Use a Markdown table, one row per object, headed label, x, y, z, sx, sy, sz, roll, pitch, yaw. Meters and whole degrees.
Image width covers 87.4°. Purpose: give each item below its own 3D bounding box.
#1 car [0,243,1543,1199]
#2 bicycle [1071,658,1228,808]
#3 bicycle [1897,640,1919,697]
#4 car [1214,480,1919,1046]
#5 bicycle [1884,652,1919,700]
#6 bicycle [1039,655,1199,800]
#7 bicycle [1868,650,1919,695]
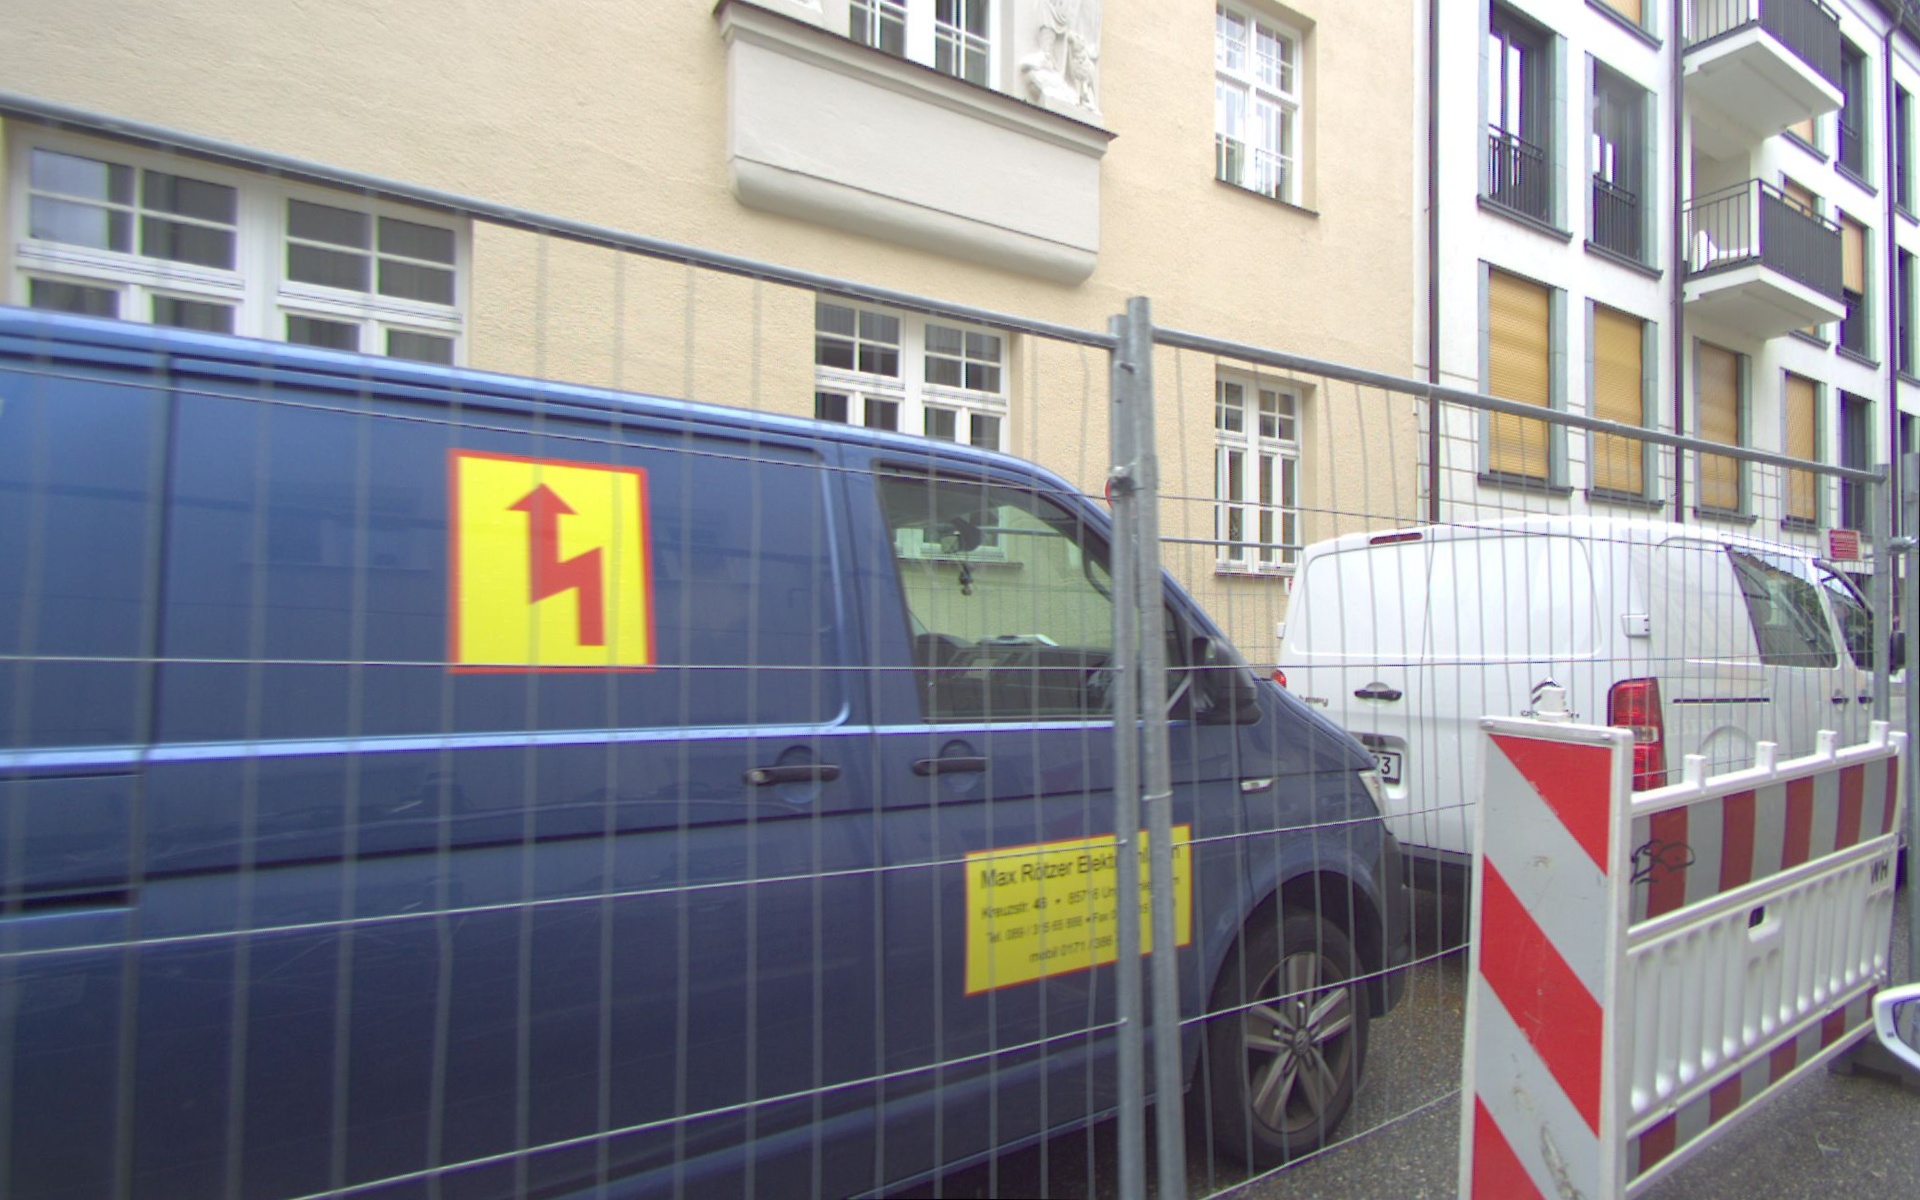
| label | x | y | z | sx | sy | sz | roll | pitch | yaw |
| --- | --- | --- | --- | --- | --- | --- | --- | --- | --- |
| car | -0.937 | 0.575 | 2.406 | 5.449 | 1.922 | 1.718 | 2 | -3 | -33 |
| bicycle | 1.506 | 1.005 | 7.863 | 1.376 | 1.065 | 0.301 | 1 | 0 | -34 |
| bicycle | 21.497 | 1.491 | 21.854 | 1.652 | 1.209 | 0.380 | 0 | 0 | 12 |
| car | 3.839 | 0.632 | 5.683 | 5.040 | 1.922 | 1.892 | 2 | -2 | -36 |
| bicycle | 19.961 | 1.585 | 20.896 | 1.046 | 0.960 | 0.308 | 0 | 1 | 25 |
| bicycle | 1.302 | 0.990 | 8.093 | 1.439 | 1.065 | 0.301 | 1 | 0 | -34 |
| bicycle | 20.370 | 1.552 | 21.459 | 1.365 | 0.900 | 0.380 | 0 | 0 | 25 |
